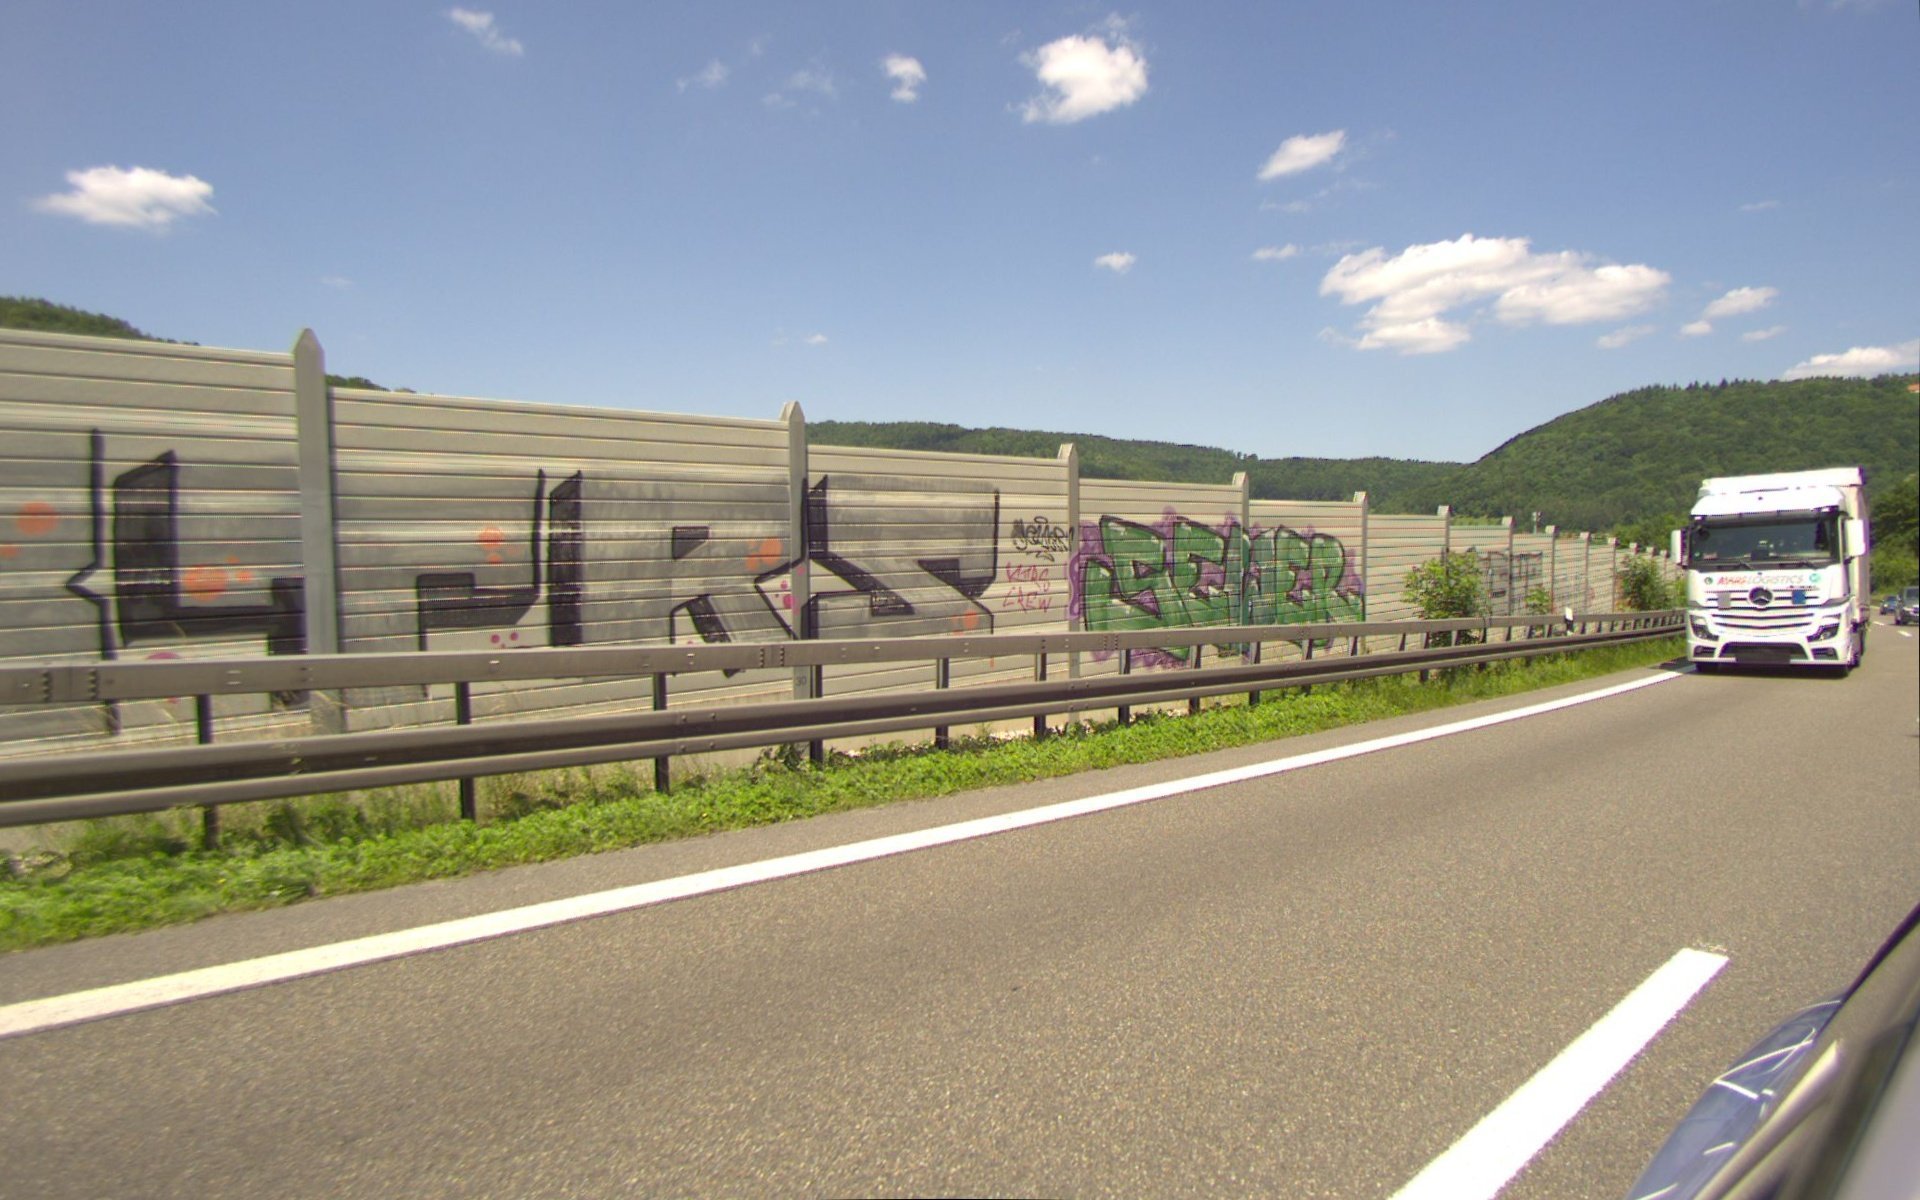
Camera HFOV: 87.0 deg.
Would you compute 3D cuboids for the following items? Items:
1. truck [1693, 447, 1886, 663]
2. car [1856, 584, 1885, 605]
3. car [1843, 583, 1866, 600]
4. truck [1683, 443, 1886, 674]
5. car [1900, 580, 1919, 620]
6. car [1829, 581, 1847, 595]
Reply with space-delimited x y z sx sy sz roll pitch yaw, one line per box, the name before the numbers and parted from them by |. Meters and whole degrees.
truck | 20.758 -0.876 24.945 2.853 4.201 11.858 -1 -1 43
car | 91.593 -0.533 101.837 1.992 2.038 3.941 2 2 41
car | 106.207 -1.024 120.136 1.993 2.038 3.939 2 2 42
truck | 17.512 -0.776 21.310 2.757 4.089 6.715 0 0 44
car | 47.168 0.039 48.992 2.034 1.889 3.945 2 1 38
car | 129.107 -1.794 148.805 1.992 2.038 3.940 2 2 42
